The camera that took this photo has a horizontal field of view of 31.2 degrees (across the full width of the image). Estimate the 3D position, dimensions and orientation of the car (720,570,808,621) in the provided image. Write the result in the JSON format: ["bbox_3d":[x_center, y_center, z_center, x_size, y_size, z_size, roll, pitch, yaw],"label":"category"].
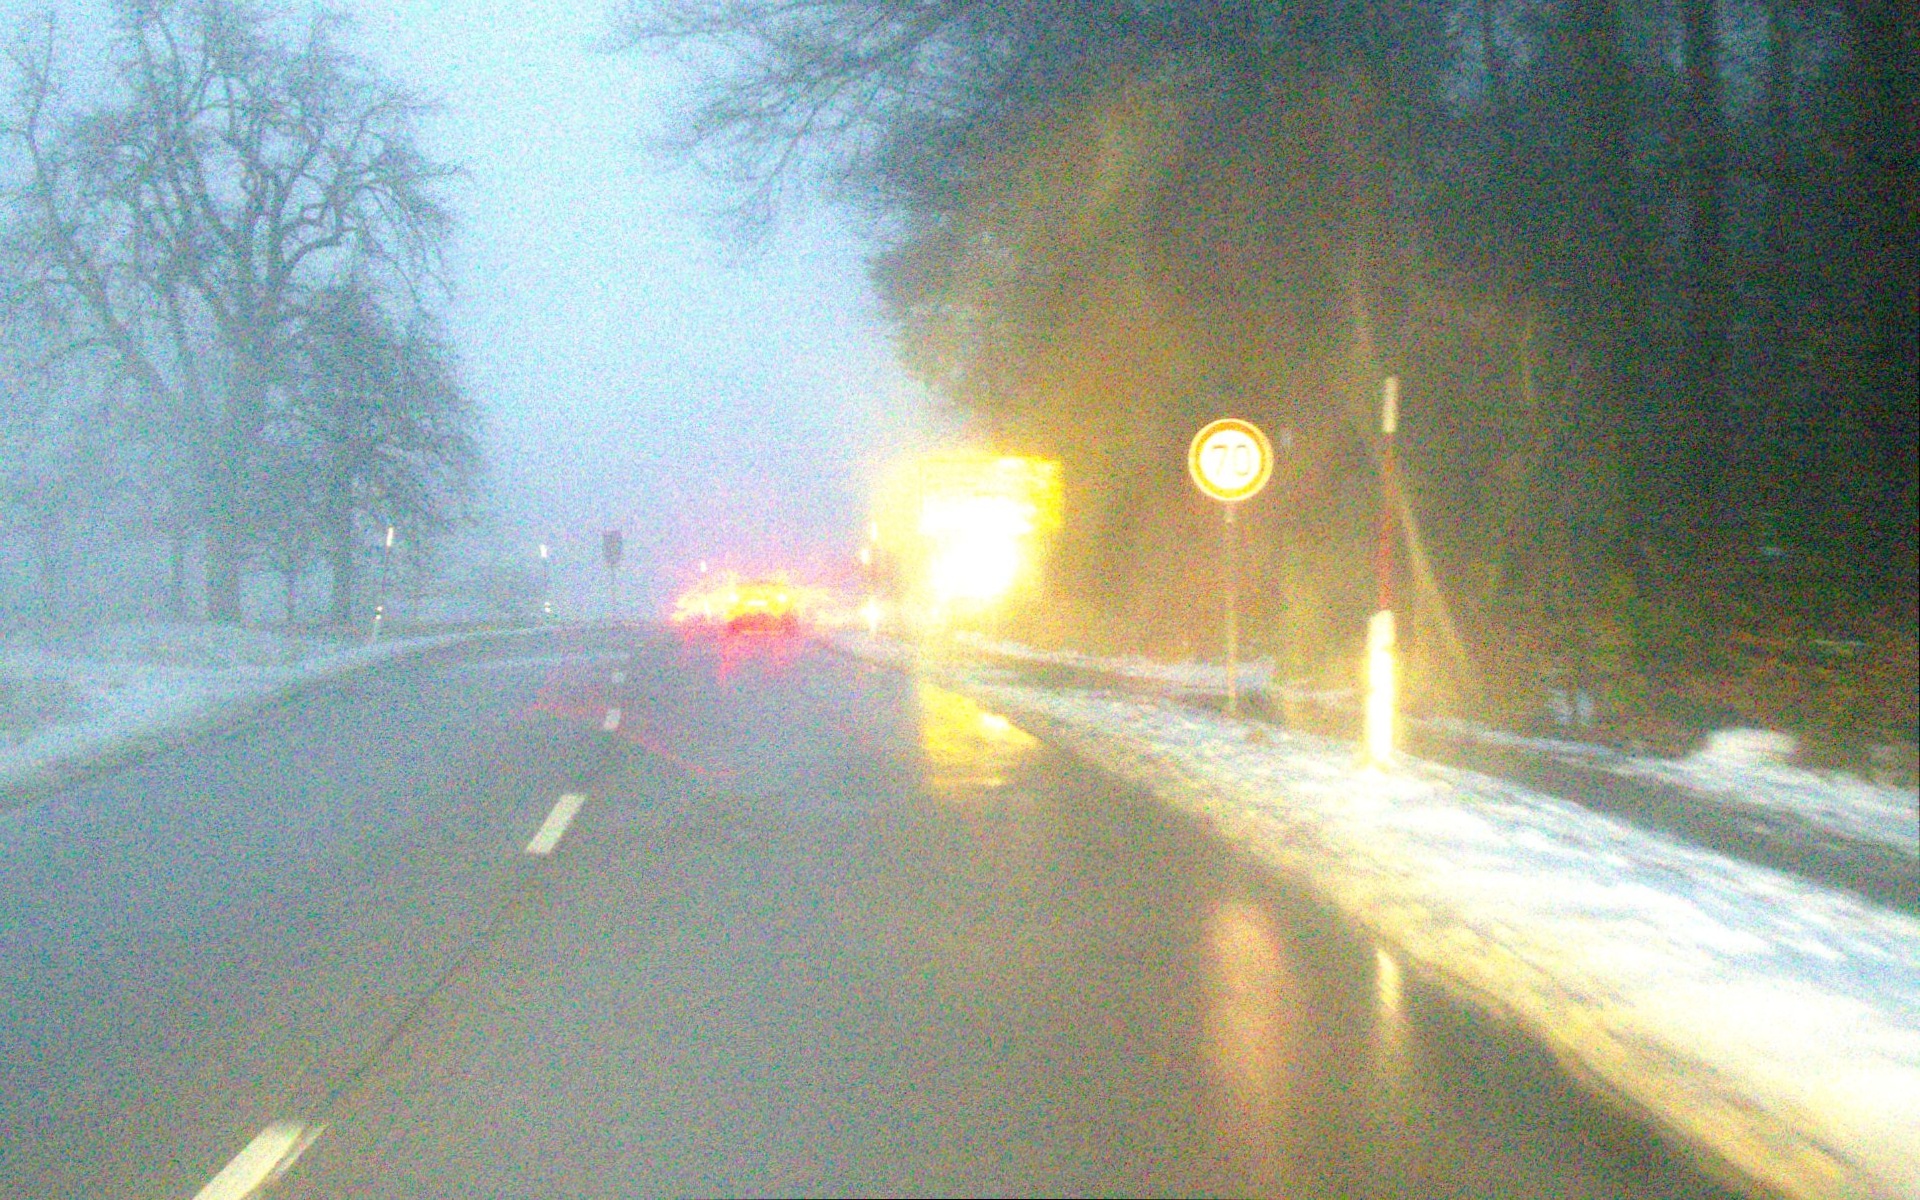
[{"bbox_3d":[-5.207,-0.132,91.816,1.922,1.272,4.000,-1,1,3],"label":"car"}]
